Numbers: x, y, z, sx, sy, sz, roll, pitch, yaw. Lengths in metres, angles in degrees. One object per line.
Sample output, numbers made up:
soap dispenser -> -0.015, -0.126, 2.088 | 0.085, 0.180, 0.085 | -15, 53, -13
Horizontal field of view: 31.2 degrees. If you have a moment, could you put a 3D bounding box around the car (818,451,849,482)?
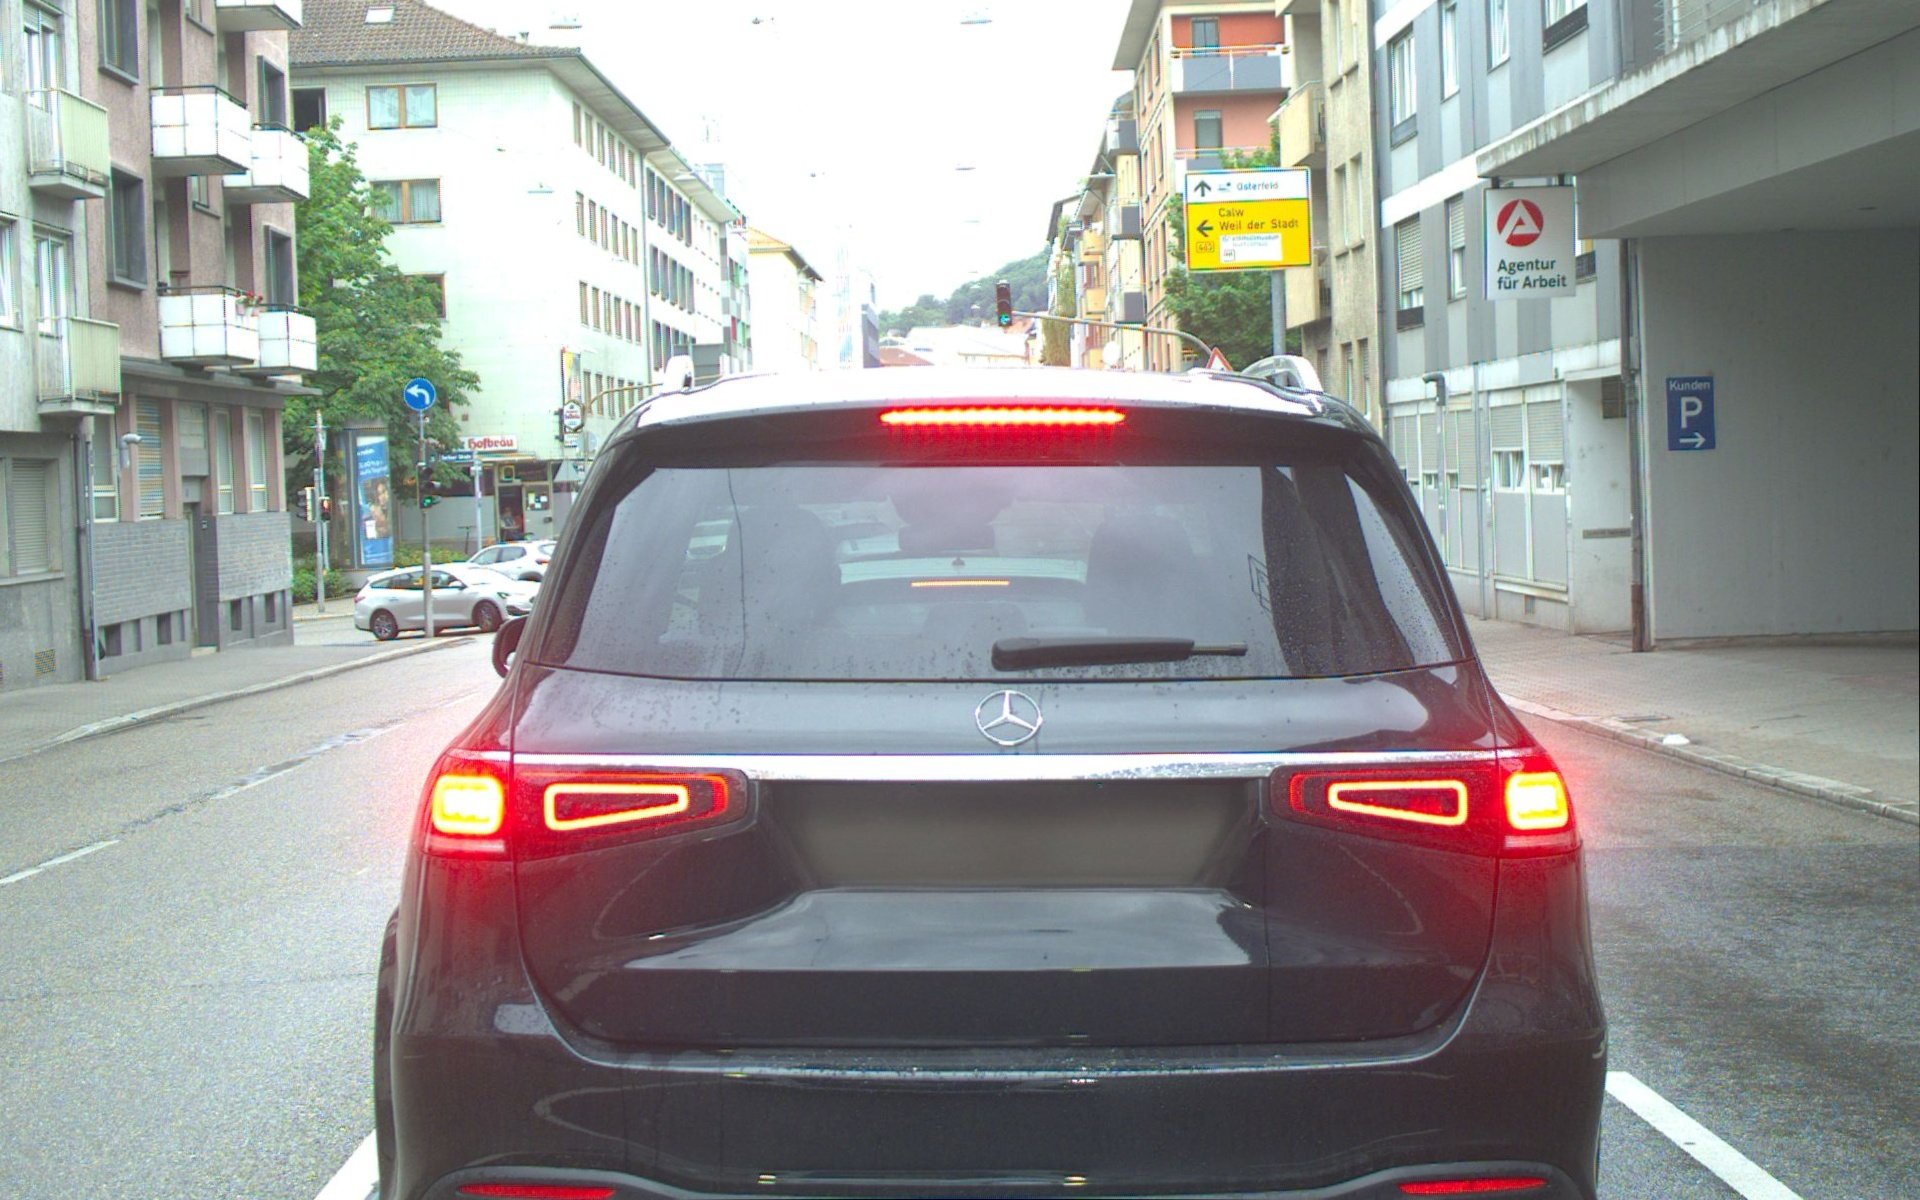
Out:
car -> -7.147, -7.501, 193.620 | 1.618, 1.534, 4.218 | -3, 1, -3

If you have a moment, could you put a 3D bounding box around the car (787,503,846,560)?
car -> -4.227, -1.998, 101.207 | 1.618, 1.534, 4.218 | -3, 1, -3

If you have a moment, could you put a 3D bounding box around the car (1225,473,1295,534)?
car -> 8.226, -2.644, 94.594 | 1.671, 1.583, 3.330 | -2, 1, 2

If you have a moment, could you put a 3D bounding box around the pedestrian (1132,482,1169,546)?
pedestrian -> 5.466, -2.463, 98.678 | 0.923, 1.798, 0.706 | -2, 1, -2

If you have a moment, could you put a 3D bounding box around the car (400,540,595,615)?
car -> -10.932, -0.531, 81.278 | 4.208, 1.534, 1.622 | -3, 1, 20

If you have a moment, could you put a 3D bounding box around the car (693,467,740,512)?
car -> -9.318, -4.210, 131.575 | 1.618, 1.534, 4.218 | -3, 1, -3

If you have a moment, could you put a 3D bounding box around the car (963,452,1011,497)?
car -> 1.154, -5.361, 147.621 | 1.723, 1.753, 4.218 | -3, 1, -3

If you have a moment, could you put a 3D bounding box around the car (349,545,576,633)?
car -> -10.278, -0.225, 70.946 | 4.351, 1.534, 1.775 | -3, 1, 28

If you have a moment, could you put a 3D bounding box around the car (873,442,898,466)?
car -> -5.461, -10.614, 250.142 | 1.618, 1.534, 4.218 | -3, 1, -3

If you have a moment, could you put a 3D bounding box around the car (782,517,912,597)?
car -> -2.443, -0.891, 73.325 | 1.814, 1.534, 4.219 | -3, 1, -14

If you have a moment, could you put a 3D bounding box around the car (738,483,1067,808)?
car -> -0.415, 0.227, 20.822 | 1.751, 1.725, 4.218 | -1, 1, -3

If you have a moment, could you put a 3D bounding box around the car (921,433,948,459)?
car -> -1.773, -10.804, 241.284 | 1.618, 1.534, 4.218 | -3, 1, -3

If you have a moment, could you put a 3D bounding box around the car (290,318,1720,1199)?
car -> 0.035, 0.497, 7.008 | 1.985, 1.799, 4.390 | 1, 1, -1

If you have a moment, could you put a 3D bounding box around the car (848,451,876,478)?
car -> -6.241, -8.621, 219.204 | 1.618, 1.534, 4.218 | -3, 1, -3

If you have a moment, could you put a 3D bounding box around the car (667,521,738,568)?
car -> -7.514, -1.610, 100.599 | 1.885, 1.260, 4.218 | -3, 1, -3

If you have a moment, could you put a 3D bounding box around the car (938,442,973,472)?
car -> -0.257, -7.629, 183.853 | 1.618, 1.382, 4.218 | -3, 1, -3

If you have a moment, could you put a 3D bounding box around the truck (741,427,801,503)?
truck -> -8.614, -6.106, 156.992 | 2.479, 3.035, 9.921 | -3, 1, -3

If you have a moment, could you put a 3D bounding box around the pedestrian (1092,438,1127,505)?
pedestrian -> 4.555, -3.921, 104.736 | 0.923, 2.007, 0.706 | -2, 1, -2

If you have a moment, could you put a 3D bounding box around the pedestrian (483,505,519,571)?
pedestrian -> -13.598, -1.843, 101.921 | 0.923, 1.895, 0.706 | -2, 1, -2
